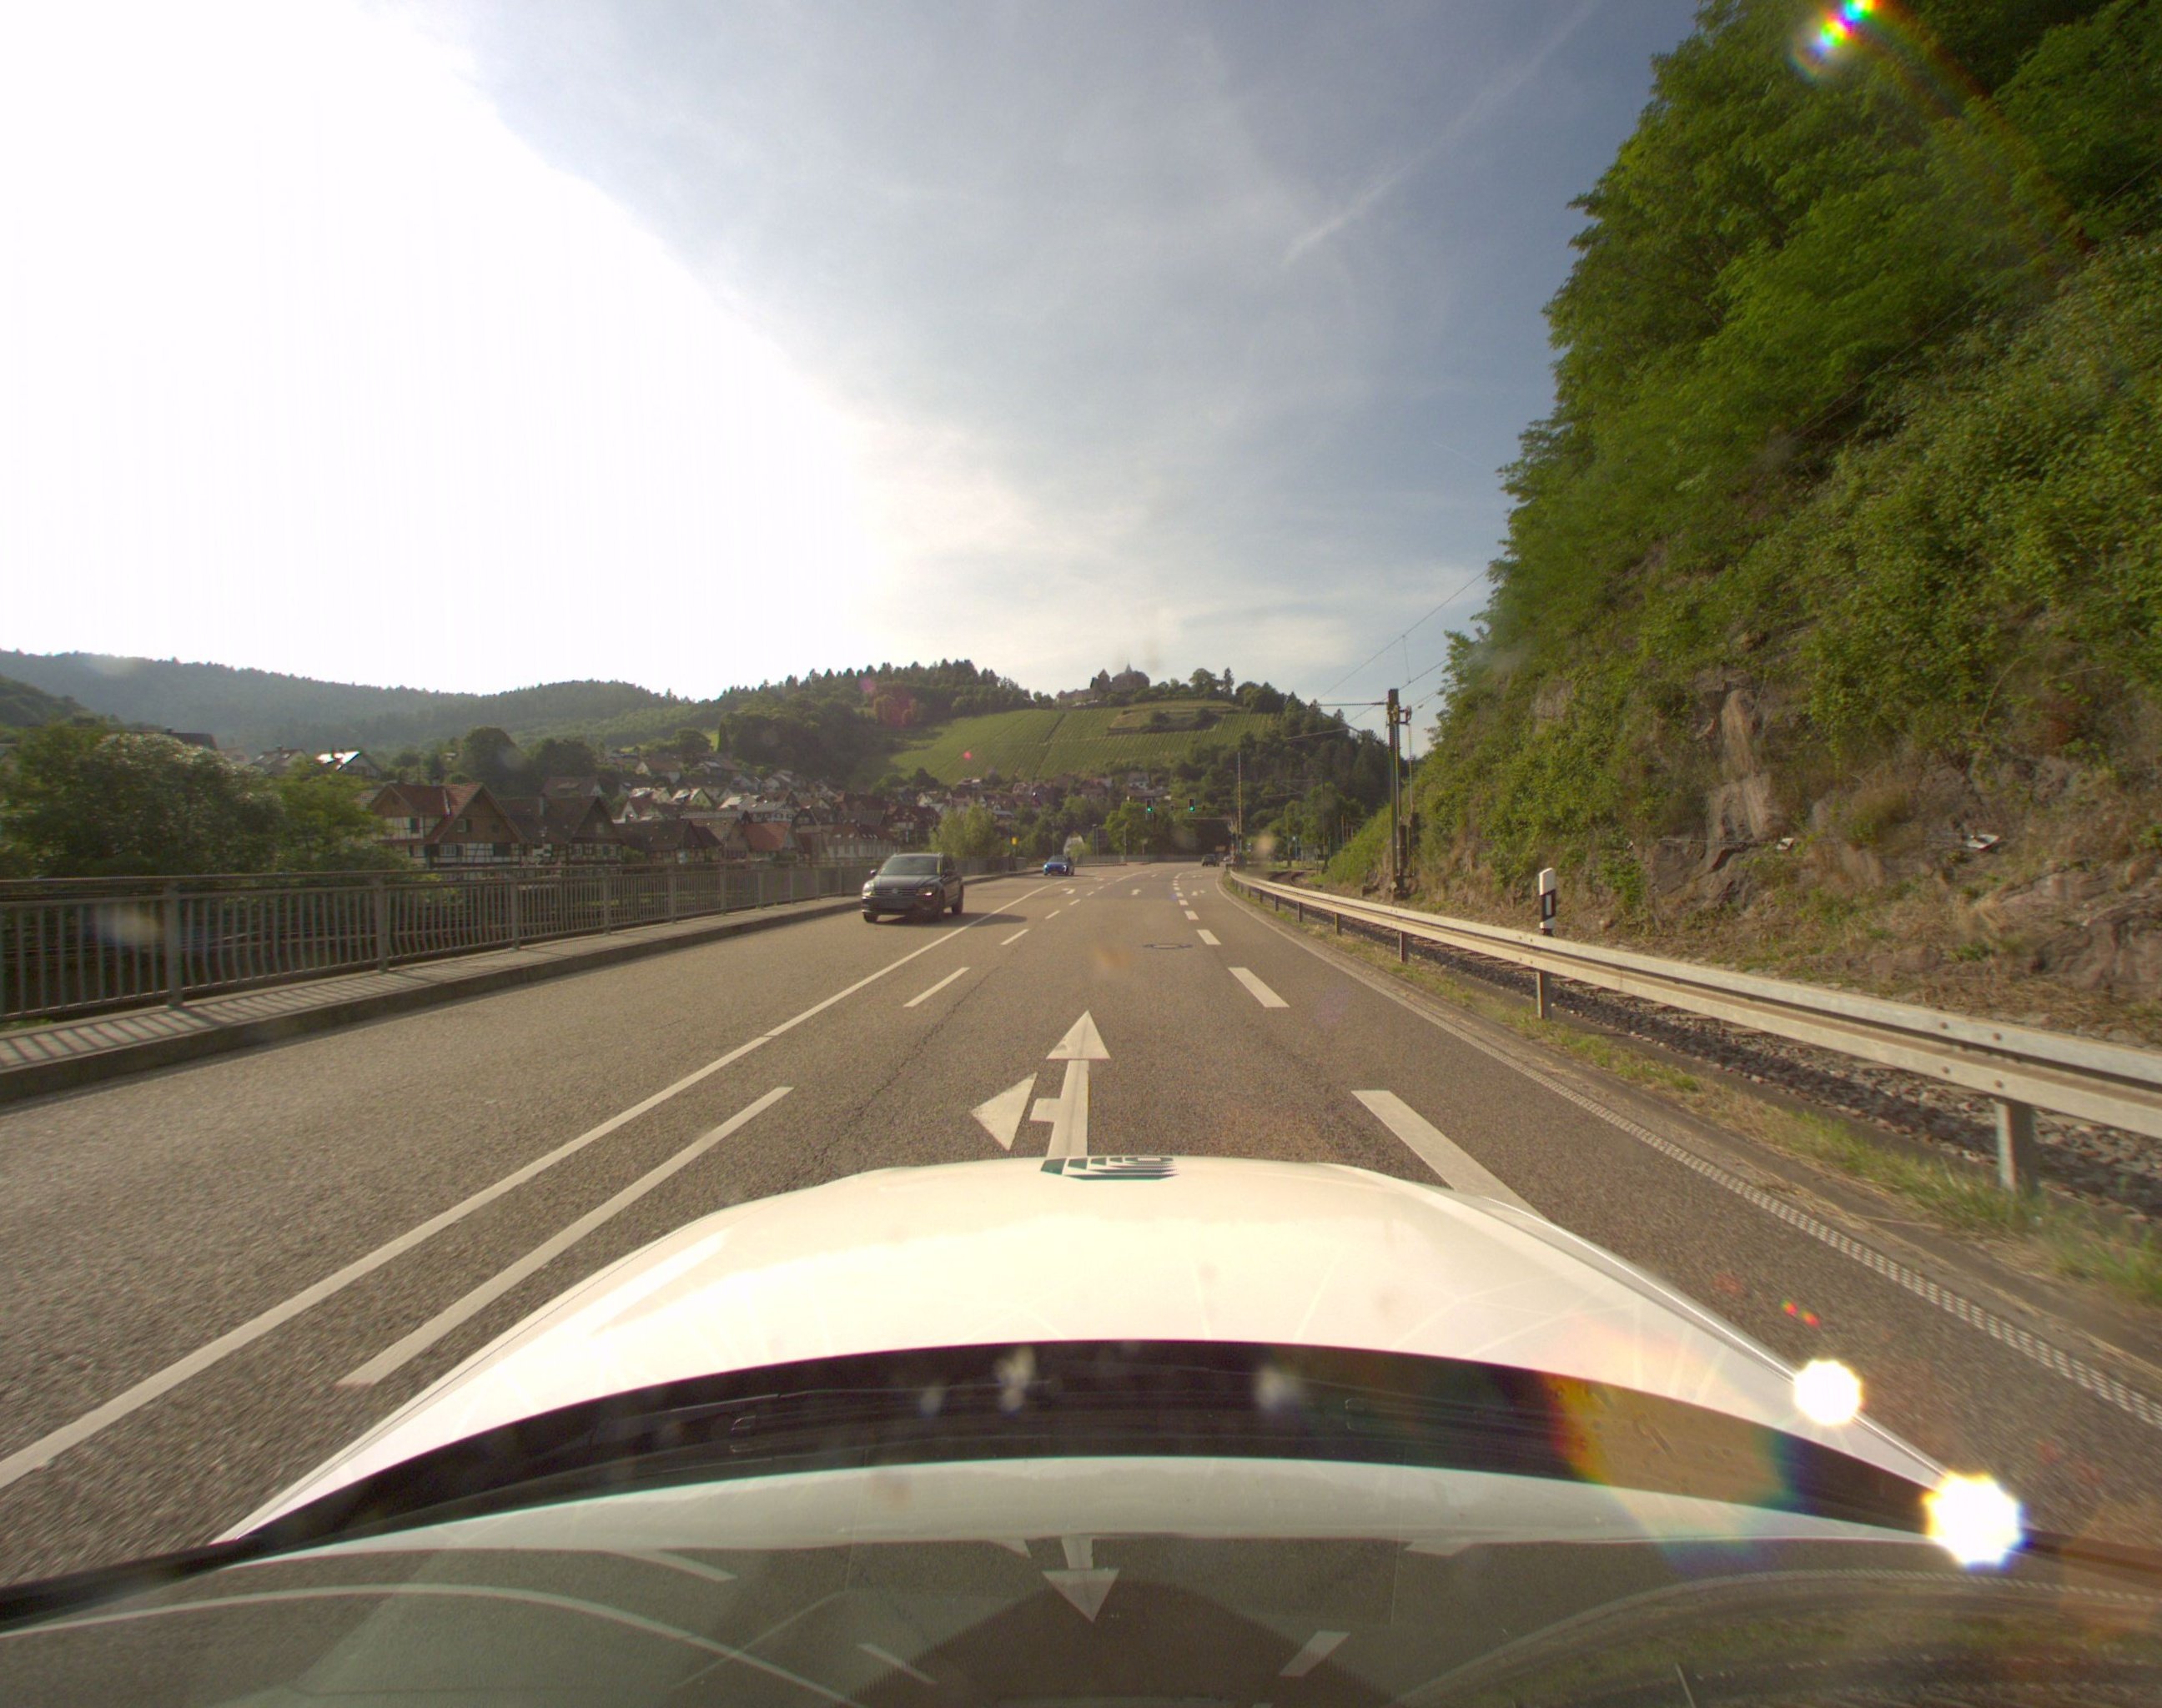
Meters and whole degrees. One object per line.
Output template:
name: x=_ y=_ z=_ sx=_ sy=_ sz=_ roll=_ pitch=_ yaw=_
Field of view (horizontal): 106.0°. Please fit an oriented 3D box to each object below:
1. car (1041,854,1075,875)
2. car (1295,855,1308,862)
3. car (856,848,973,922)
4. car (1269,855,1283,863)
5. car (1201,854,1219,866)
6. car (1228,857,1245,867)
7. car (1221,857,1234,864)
car: x=-1.665 y=0.738 z=60.251 sx=1.772 sy=1.482 sz=4.536 roll=0 pitch=0 yaw=8
car: x=47.596 y=0.919 z=175.399 sx=1.791 sy=1.408 sz=3.796 roll=-2 pitch=-1 yaw=29
car: x=-4.066 y=0.706 z=20.652 sx=1.809 sy=1.646 sz=4.615 roll=-1 pitch=0 yaw=2
car: x=36.522 y=0.922 z=152.537 sx=1.790 sy=1.453 sz=3.668 roll=-2 pitch=-1 yaw=25
car: x=16.353 y=0.768 z=103.115 sx=1.714 sy=1.457 sz=3.427 roll=-2 pitch=-1 yaw=19
car: x=23.648 y=1.180 z=123.991 sx=1.824 sy=1.459 sz=3.732 roll=-2 pitch=-1 yaw=21
car: x=27.125 y=1.279 z=150.799 sx=1.631 sy=1.231 sz=4.115 roll=0 pitch=0 yaw=22
